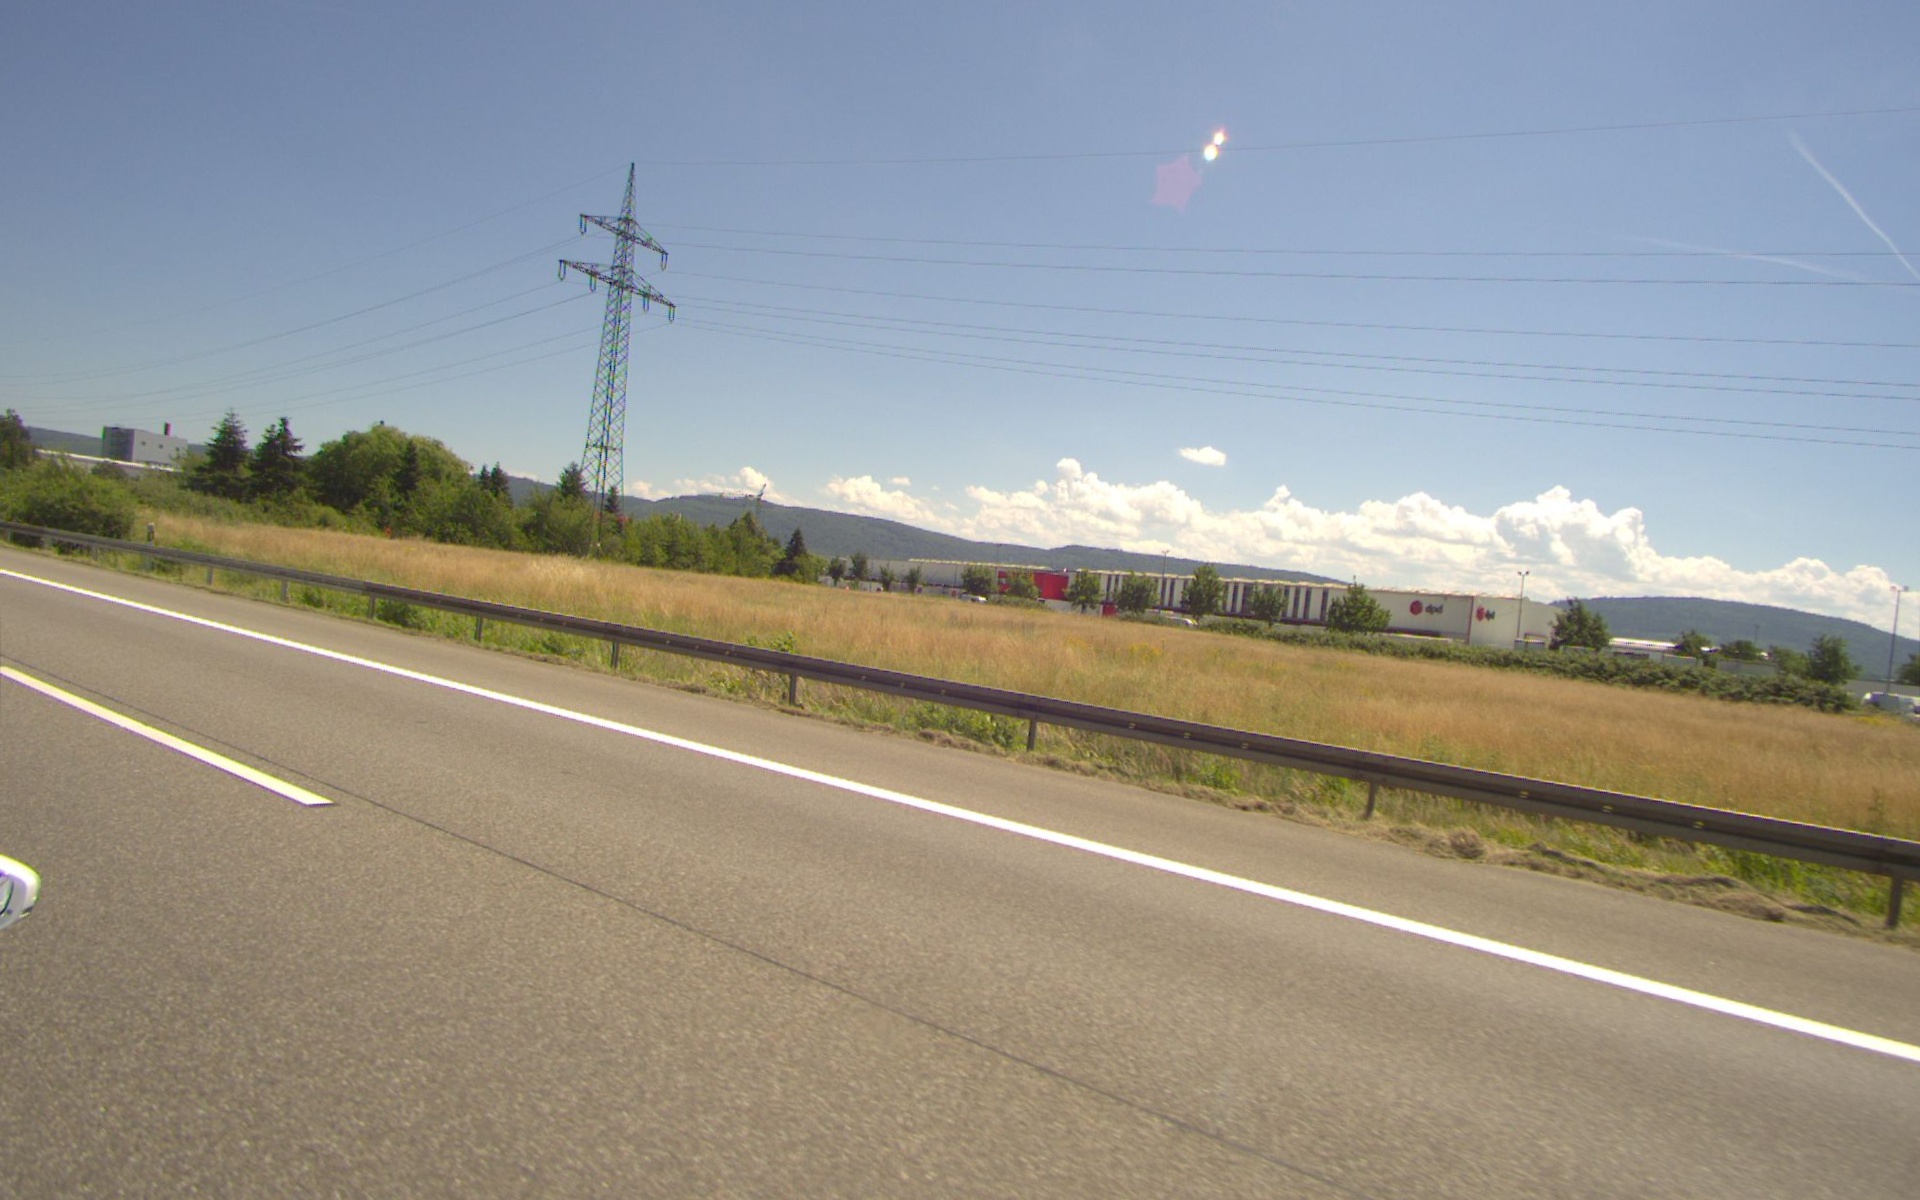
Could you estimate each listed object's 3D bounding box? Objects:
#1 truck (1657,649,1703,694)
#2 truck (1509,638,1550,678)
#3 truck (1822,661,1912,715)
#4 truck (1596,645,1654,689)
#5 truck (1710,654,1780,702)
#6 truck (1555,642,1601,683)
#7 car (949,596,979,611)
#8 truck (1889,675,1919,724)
[{"bbox_3d":[62.973,6.209,87.979,2.786,3.455,8.142,7,1,36],"label":"truck"},{"bbox_3d":[56.011,5.691,98.802,2.783,3.455,8.150,7,1,33],"label":"truck"},{"bbox_3d":[69.285,6.629,77.081,2.708,3.455,8.161,7,1,27],"label":"truck"},{"bbox_3d":[60.526,6.026,91.756,2.779,3.455,8.163,7,1,25],"label":"truck"},{"bbox_3d":[65.689,6.434,84.367,2.708,3.455,8.161,7,1,27],"label":"truck"},{"bbox_3d":[58.164,5.830,94.891,2.780,3.455,8.159,7,1,28],"label":"truck"},{"bbox_3d":[0.662,0.581,171.256,1.984,2.037,5.212,8,-2,-37],"label":"car"},{"bbox_3d":[72.588,7.554,74.779,2.708,3.455,8.161,7,1,27],"label":"truck"}]
